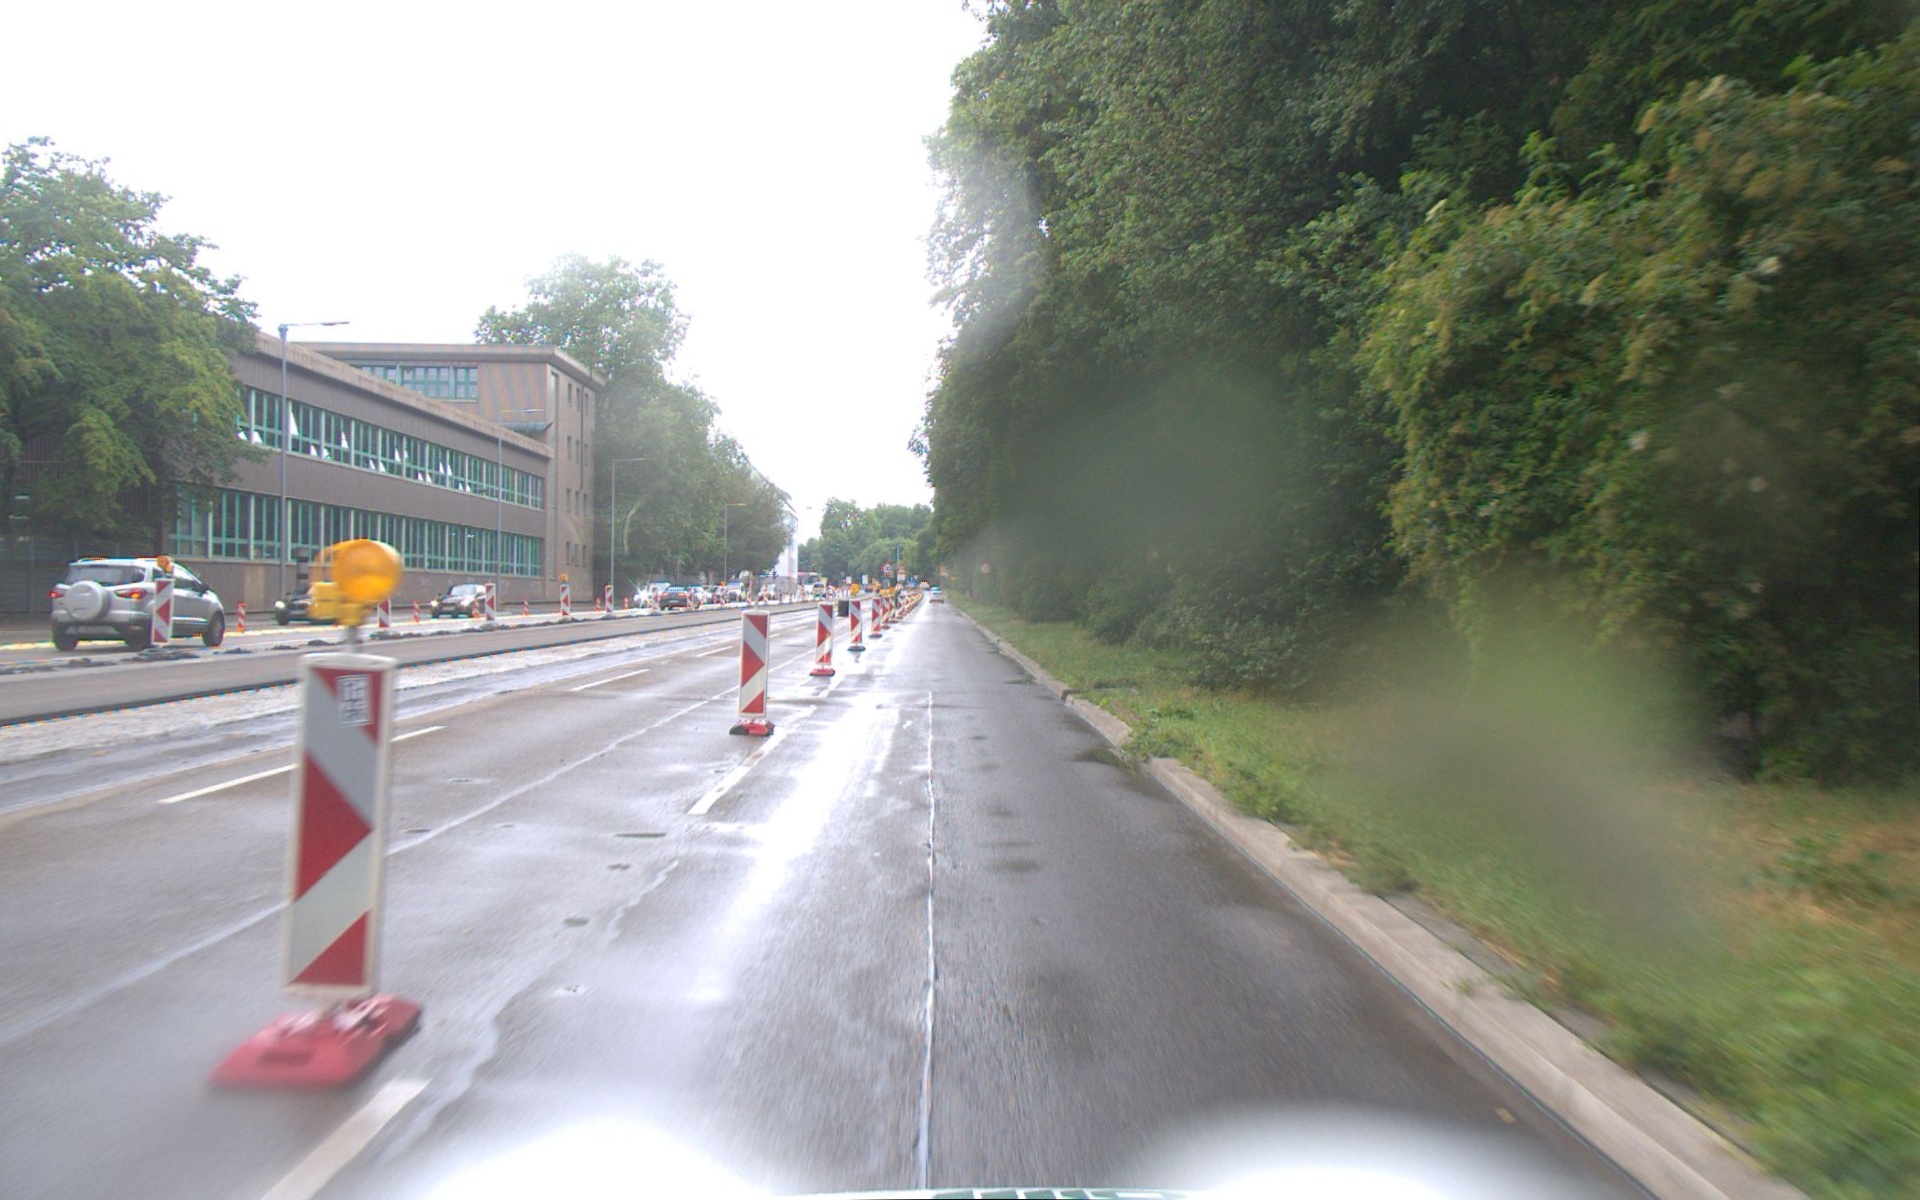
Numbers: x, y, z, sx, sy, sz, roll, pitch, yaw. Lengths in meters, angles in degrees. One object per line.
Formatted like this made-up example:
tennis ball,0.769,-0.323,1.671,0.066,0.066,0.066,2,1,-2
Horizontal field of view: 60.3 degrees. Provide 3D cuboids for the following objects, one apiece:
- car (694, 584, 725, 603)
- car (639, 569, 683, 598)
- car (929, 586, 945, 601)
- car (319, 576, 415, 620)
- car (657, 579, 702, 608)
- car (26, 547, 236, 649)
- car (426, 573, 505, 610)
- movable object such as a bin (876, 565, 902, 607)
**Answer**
car,-20.834,-0.518,137.815,1.855,1.528,4.516,1,0,0
car,-19.524,-1.081,108.266,1.948,1.799,4.675,1,0,0
car,-2.807,-0.827,203.160,1.953,1.702,3.999,1,0,-1
car,-20.821,-0.102,58.202,1.953,1.454,4.263,1,1,-2
car,-16.079,-0.372,95.078,1.953,1.545,3.999,1,0,-1
car,-14.975,-0.048,30.135,1.817,1.677,3.999,1,0,-1
car,-21.362,-0.375,71.616,2.005,1.479,4.764,1,0,-1
movable object such as a bin,-5.908,-1.164,138.069,1.953,3.426,5.981,1,0,-1
